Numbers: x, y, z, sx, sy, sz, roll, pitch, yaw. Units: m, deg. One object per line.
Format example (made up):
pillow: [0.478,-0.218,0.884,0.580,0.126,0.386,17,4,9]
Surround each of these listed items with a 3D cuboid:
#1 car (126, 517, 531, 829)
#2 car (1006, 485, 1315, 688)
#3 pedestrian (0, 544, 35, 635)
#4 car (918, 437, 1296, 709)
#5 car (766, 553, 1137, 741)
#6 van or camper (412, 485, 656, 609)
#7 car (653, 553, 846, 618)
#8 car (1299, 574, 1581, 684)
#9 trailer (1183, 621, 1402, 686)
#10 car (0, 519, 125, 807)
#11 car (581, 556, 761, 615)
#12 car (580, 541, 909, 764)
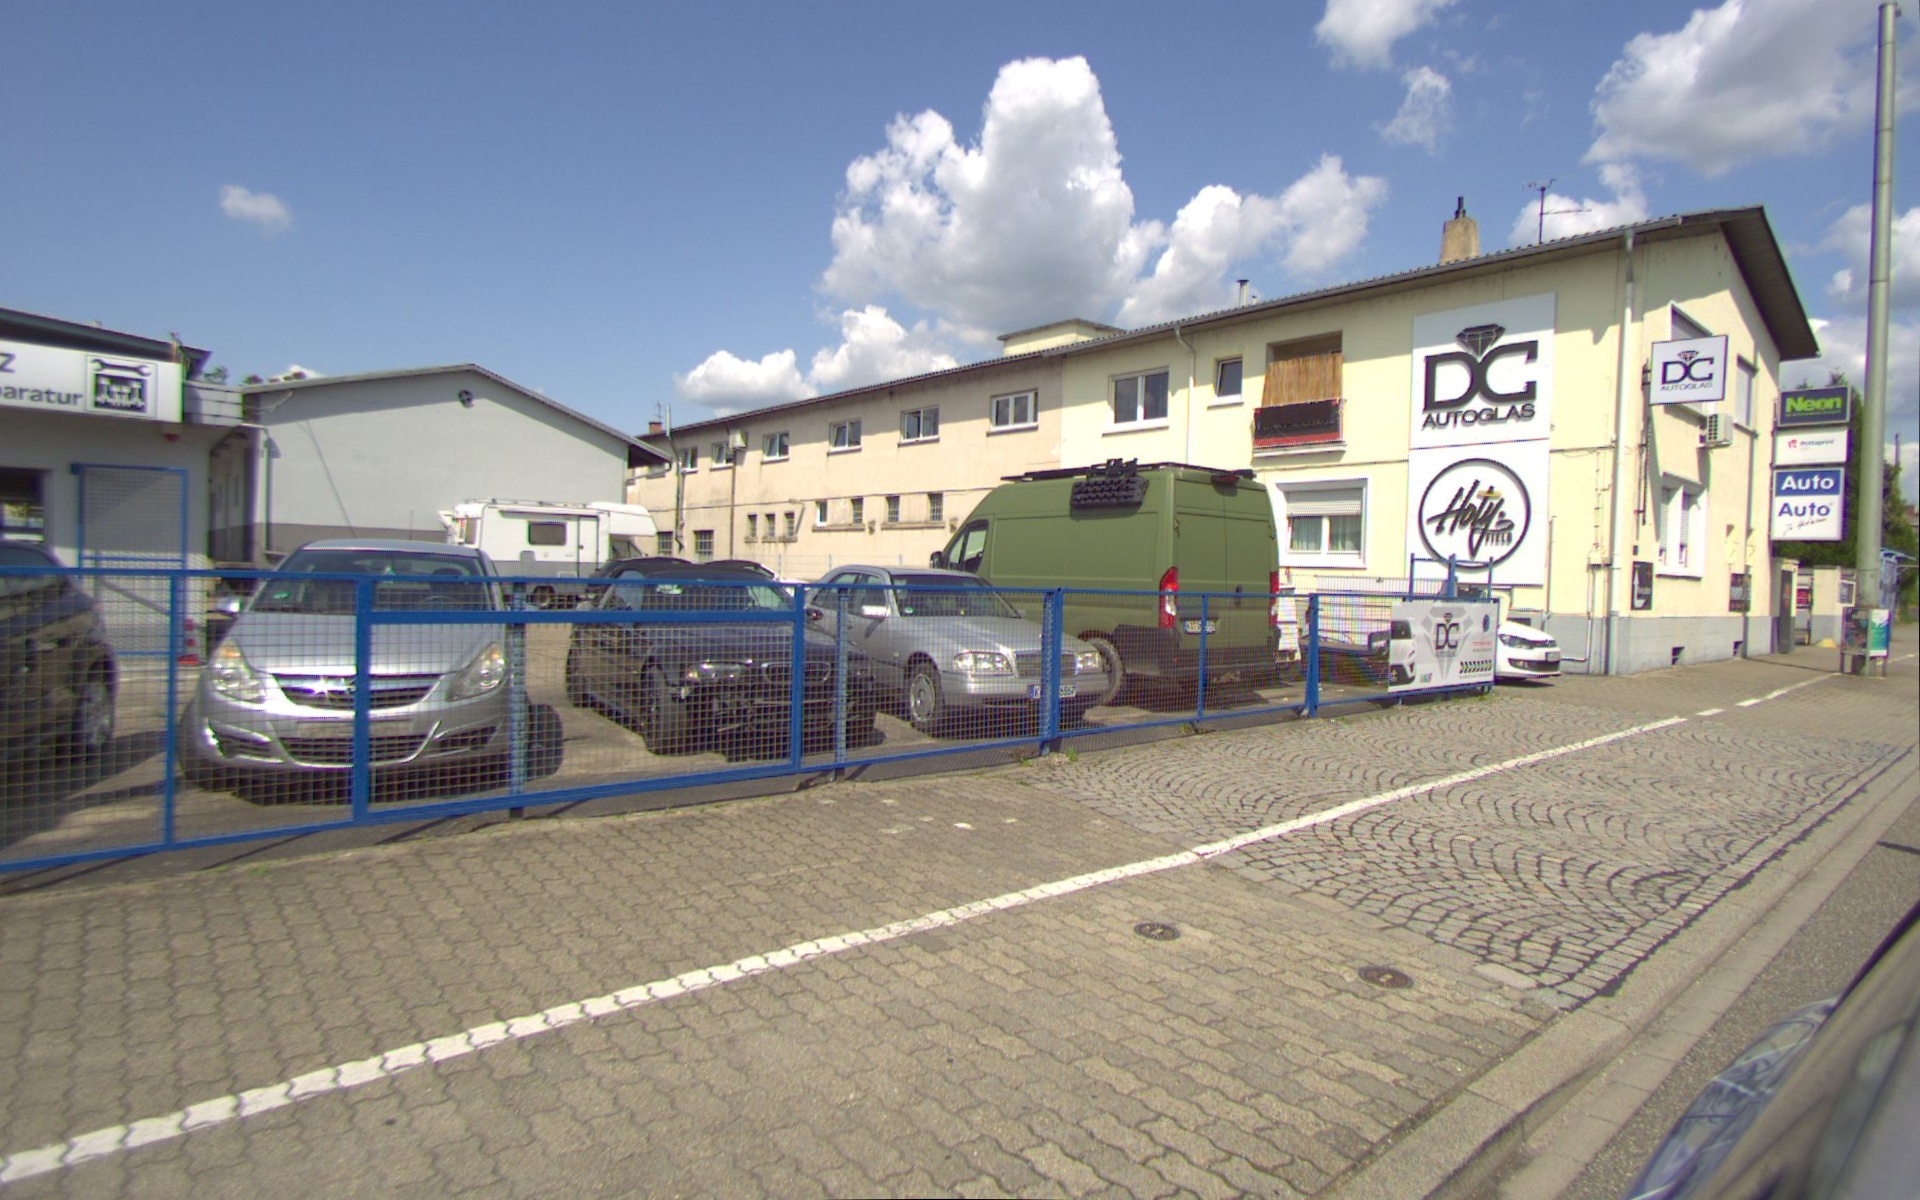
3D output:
car: [-3.893,0.287,6.842,1.736,1.470,3.778,1,2,-24]
car: [2.640,-0.239,14.239,1.557,2.436,4.208,1,2,-39]
pedestrian: [-13.156,-0.152,13.882,0.652,1.224,0.566,1,1,-39]
car: [1.592,-0.343,12.258,2.075,2.675,4.208,1,2,-39]
car: [-0.334,0.293,10.205,1.679,1.470,4.292,1,2,-33]
van or camper: [-11.300,-1.319,27.112,5.556,3.002,2.272,0,2,-42]
car: [-4.840,-0.342,23.549,4.112,1.378,1.645,0,2,-41]
car: [7.539,0.369,16.181,1.527,1.481,3.775,1,2,-39]
trailer: [4.754,0.732,14.653,1.307,0.674,2.730,0,2,-42]
car: [-5.635,0.309,4.869,1.606,1.470,3.700,1,2,-25]
car: [-7.303,-0.352,25.812,4.112,1.378,1.645,0,2,-41]
car: [-2.123,0.280,8.899,1.737,1.470,4.128,1,2,-28]
